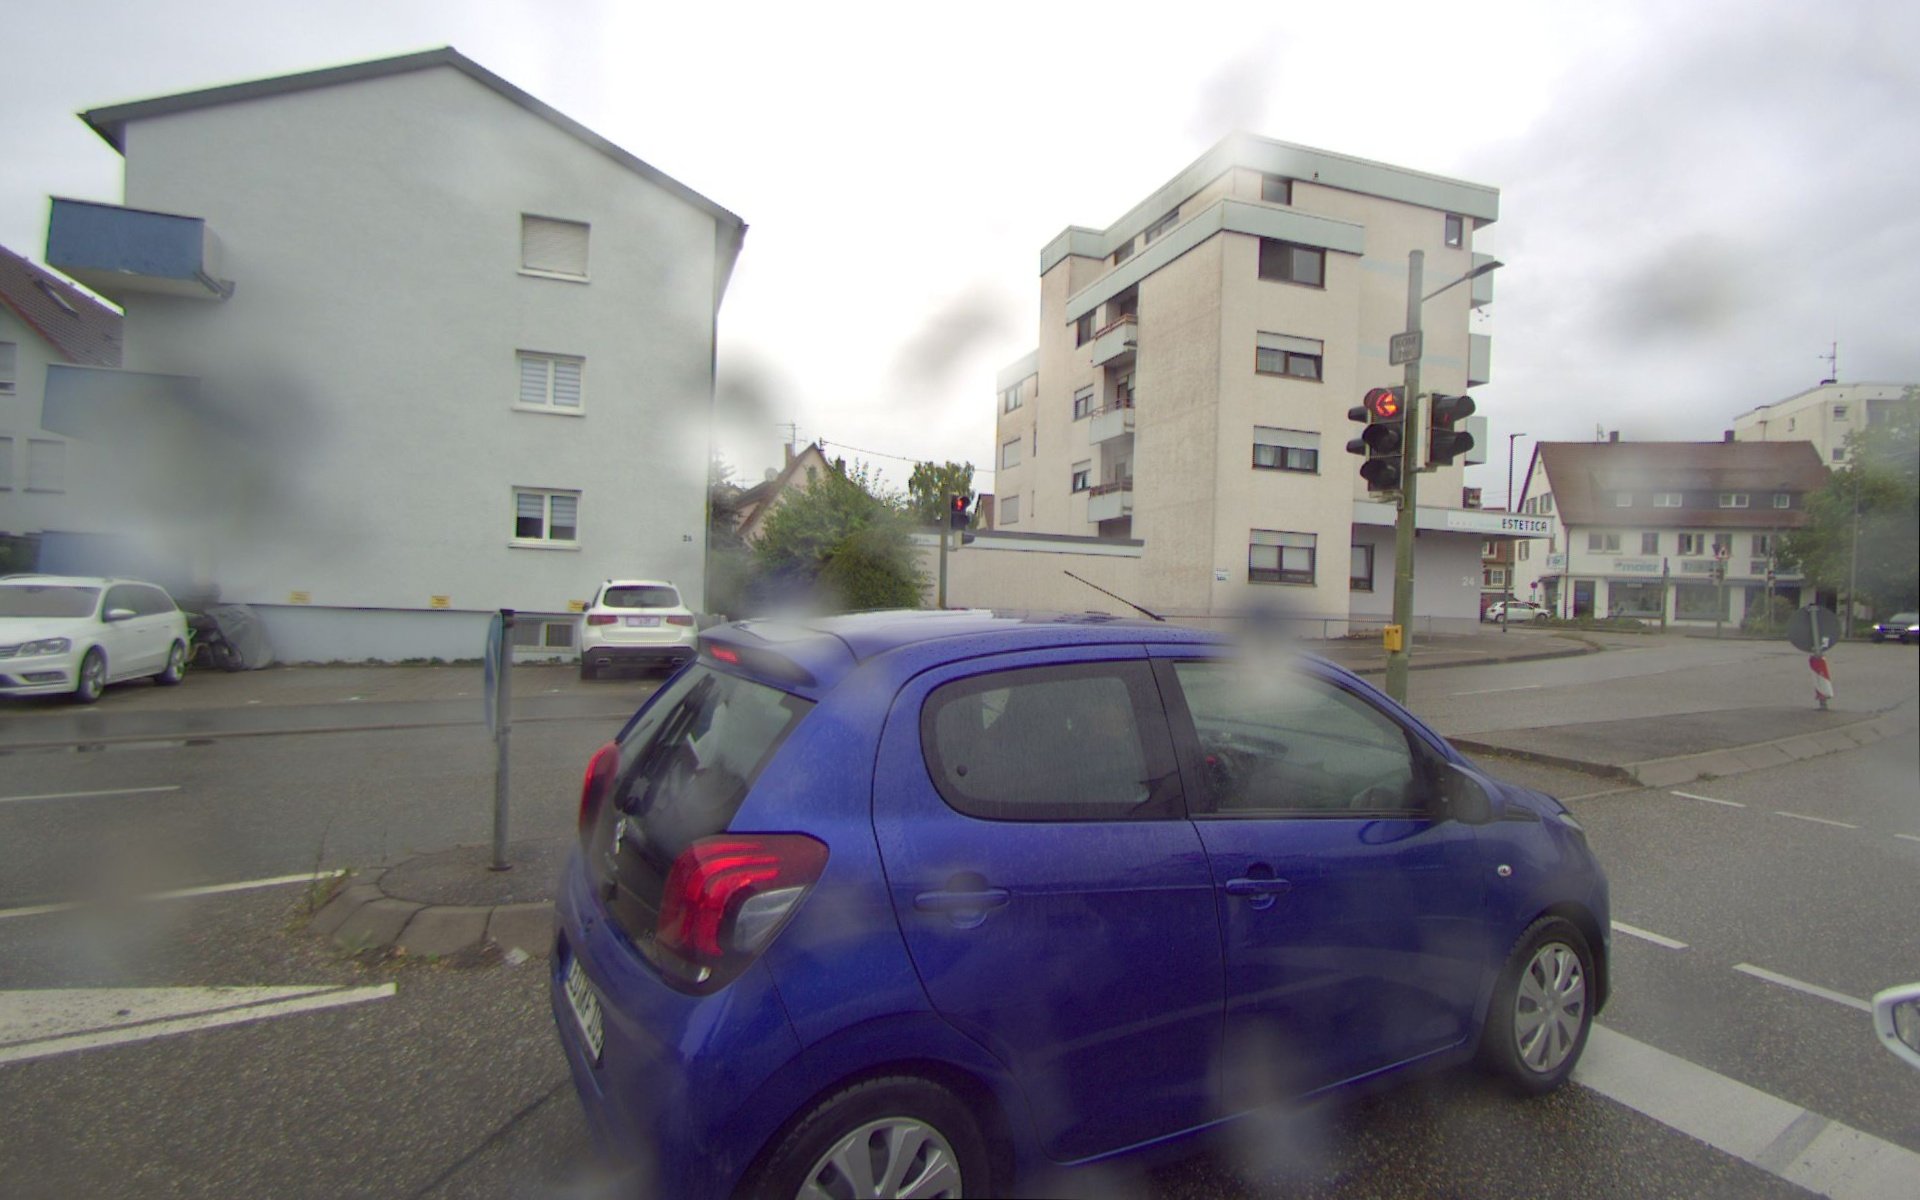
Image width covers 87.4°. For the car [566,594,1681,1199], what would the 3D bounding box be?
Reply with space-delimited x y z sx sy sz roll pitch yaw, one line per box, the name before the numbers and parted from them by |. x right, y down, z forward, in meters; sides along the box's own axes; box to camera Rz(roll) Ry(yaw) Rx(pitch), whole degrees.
car | 0.580 0.736 3.197 3.231 1.429 1.571 1 1 -30

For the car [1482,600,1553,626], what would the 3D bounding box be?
car | 38.177 0.877 68.890 3.887 1.593 1.873 1 1 17

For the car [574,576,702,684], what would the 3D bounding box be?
car | -5.772 0.475 17.905 1.909 1.658 4.446 1 0 -19

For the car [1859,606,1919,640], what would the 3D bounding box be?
car | 42.434 1.003 45.251 3.785 1.439 1.770 1 1 -30

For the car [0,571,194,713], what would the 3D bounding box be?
car | -11.235 0.430 12.379 1.878 1.493 4.208 1 0 -24

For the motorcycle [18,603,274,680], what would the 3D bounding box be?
motorcycle | -12.987 0.618 16.151 0.864 1.115 3.113 2 1 43
